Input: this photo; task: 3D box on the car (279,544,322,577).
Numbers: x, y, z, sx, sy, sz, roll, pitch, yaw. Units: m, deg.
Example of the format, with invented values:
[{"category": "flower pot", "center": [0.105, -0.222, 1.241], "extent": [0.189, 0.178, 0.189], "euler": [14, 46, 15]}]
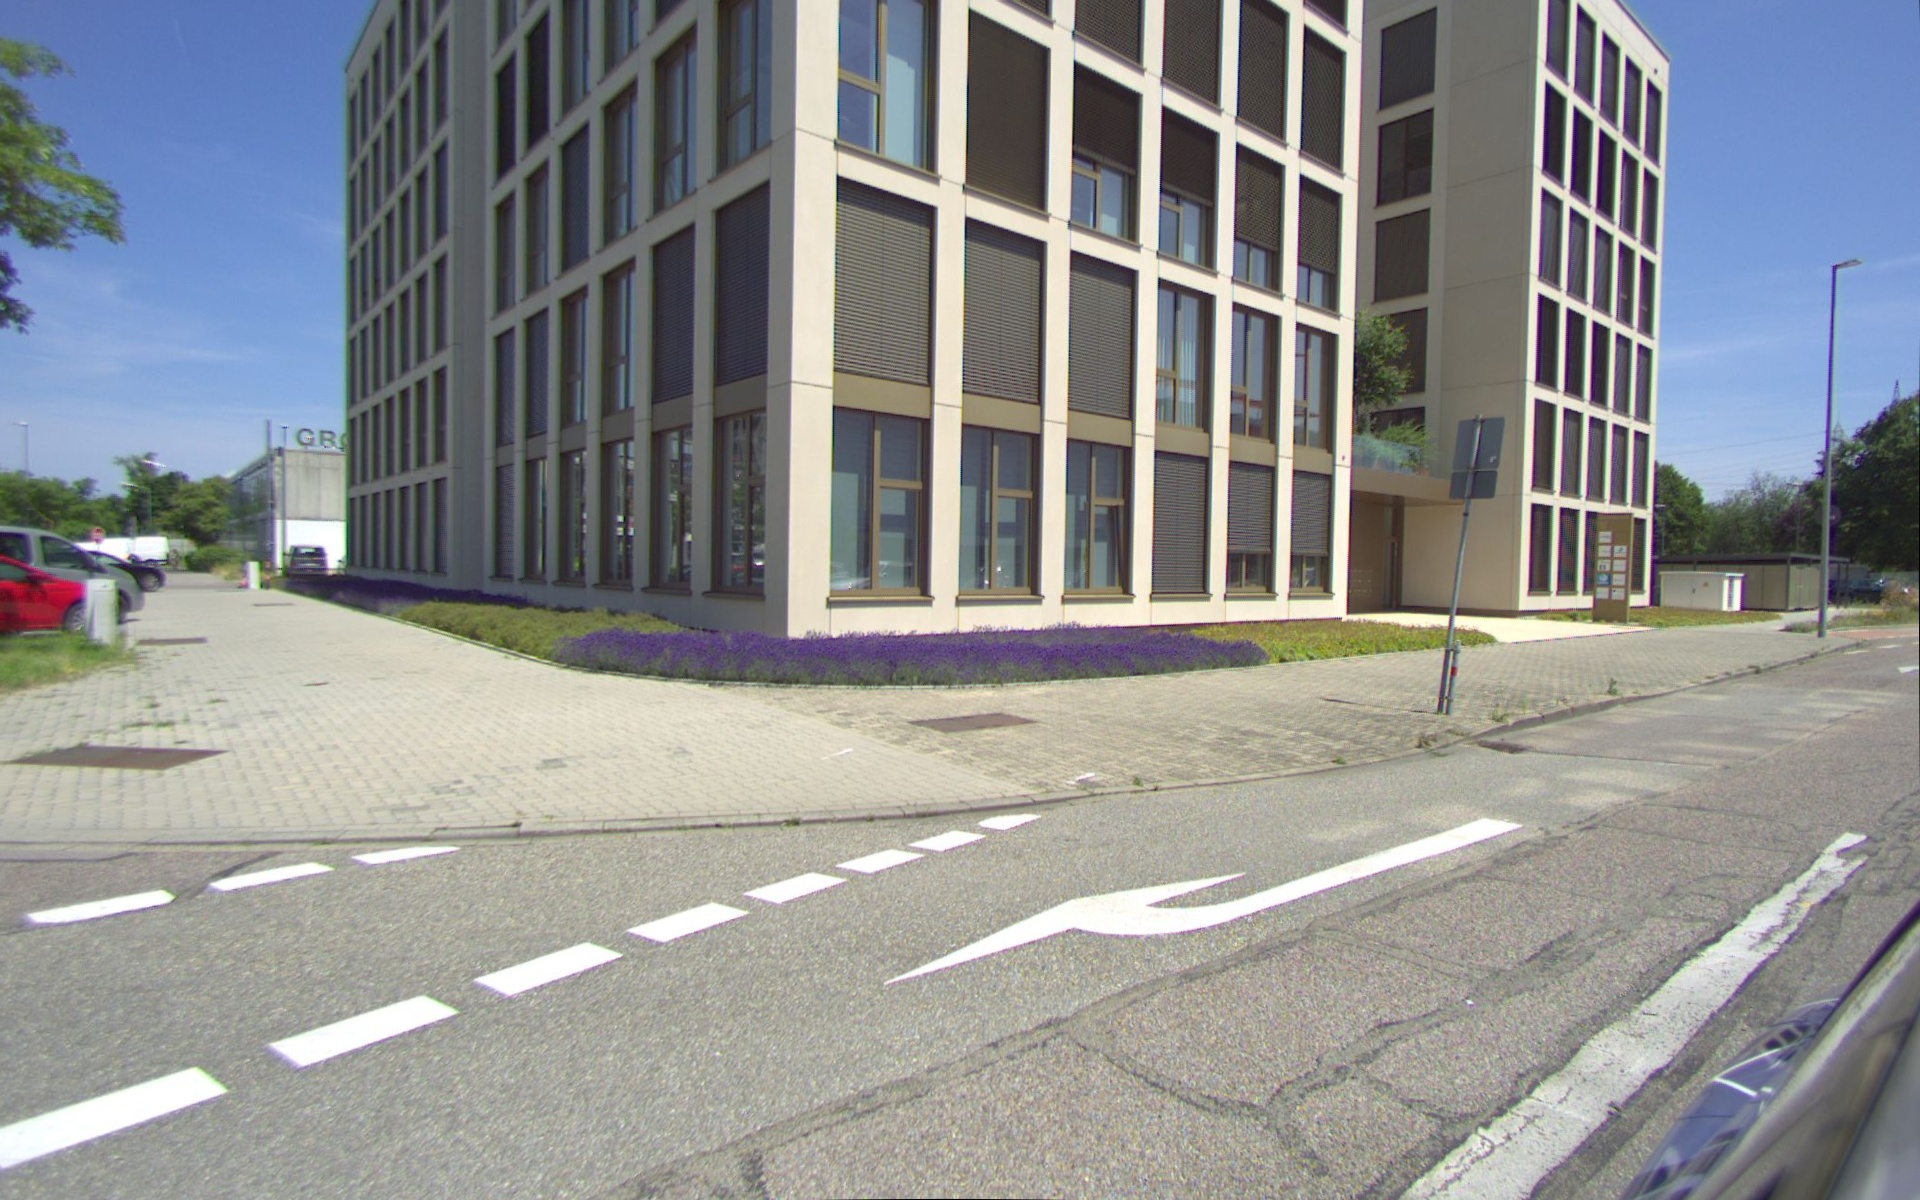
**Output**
[{"category": "car", "center": [-38.115, -2.235, 58.450], "extent": [1.763, 1.749, 3.997], "euler": [0, 0, -38]}]

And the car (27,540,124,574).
[{"category": "car", "center": [-55.159, -2.648, 63.222], "extent": [4.495, 2.039, 1.997], "euler": [-1, 0, -40]}]

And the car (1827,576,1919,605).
[{"category": "car", "center": [53.644, -0.565, 59.557], "extent": [3.810, 1.571, 1.716], "euler": [2, 2, 36]}]

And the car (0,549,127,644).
[{"category": "car", "center": [-15.467, -0.061, 15.562], "extent": [1.672, 1.449, 3.990], "euler": [1, 3, 10]}]

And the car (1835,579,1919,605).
[{"category": "car", "center": [55.219, -0.511, 60.791], "extent": [3.810, 1.411, 1.716], "euler": [2, 2, 36]}]

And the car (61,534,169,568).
[{"category": "car", "center": [-67.791, -3.904, 81.403], "extent": [6.573, 2.552, 2.217], "euler": [-1, 0, -38]}]

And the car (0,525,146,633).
[{"category": "car", "center": [-17.874, -0.401, 18.429], "extent": [1.886, 1.910, 4.927], "euler": [1, 1, 5]}]

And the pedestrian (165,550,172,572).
[{"category": "pedestrian", "center": [-56.227, -2.759, 71.900], "extent": [0.397, 1.579, 0.549], "euler": [0, 2, -39]}]
